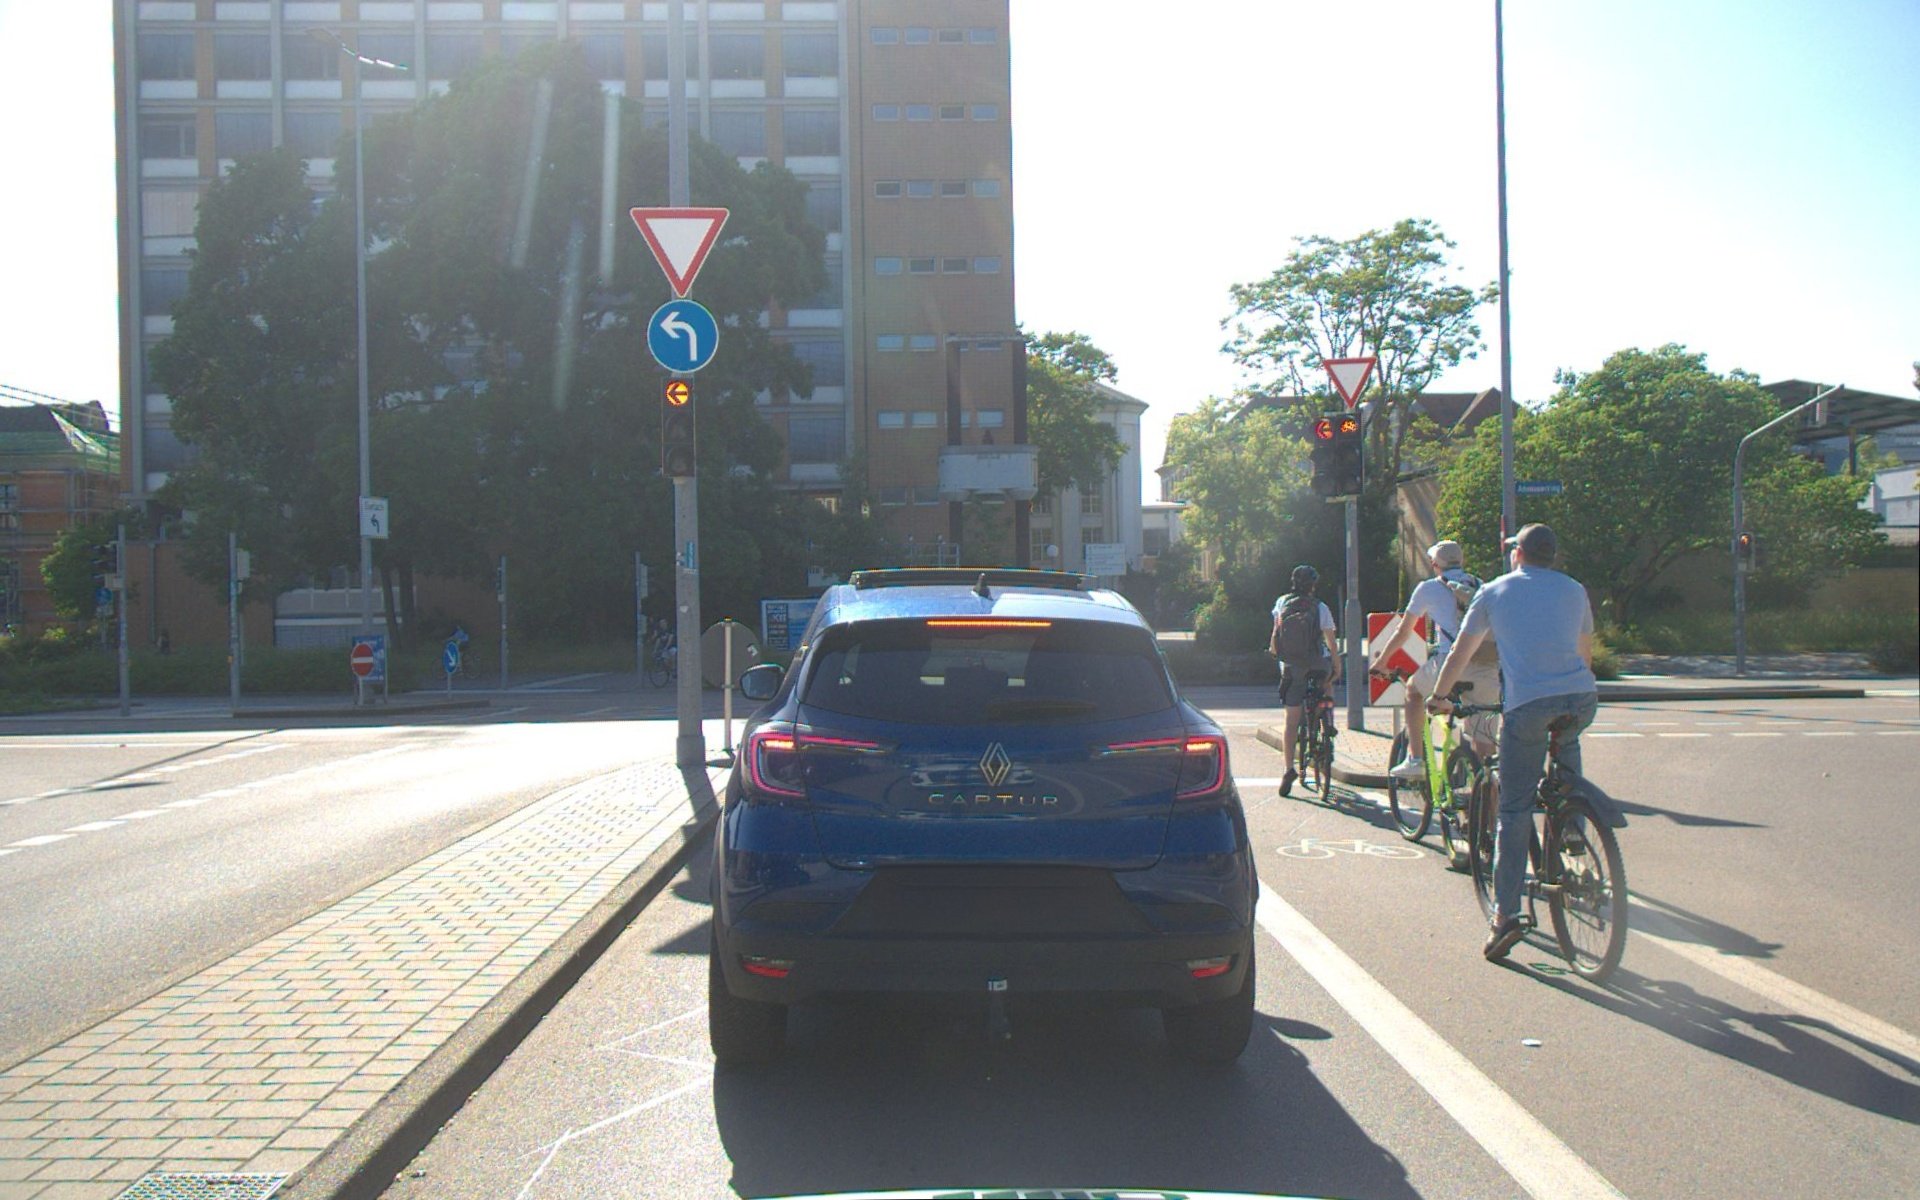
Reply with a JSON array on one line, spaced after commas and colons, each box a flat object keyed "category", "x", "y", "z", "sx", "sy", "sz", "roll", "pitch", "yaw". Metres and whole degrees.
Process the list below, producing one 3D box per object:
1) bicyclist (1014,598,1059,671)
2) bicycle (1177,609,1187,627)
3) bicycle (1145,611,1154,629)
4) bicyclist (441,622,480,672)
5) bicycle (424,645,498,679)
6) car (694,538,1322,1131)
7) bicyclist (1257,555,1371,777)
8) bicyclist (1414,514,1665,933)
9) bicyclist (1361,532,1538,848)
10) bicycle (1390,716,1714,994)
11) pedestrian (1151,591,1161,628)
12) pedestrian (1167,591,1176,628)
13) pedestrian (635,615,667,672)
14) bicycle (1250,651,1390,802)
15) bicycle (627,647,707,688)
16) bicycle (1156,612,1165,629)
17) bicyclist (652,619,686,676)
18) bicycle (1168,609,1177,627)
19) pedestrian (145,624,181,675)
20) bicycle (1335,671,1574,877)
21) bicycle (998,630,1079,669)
[{"category": "bicyclist", "x": 2.018, "y": 0.914, "z": 43.661, "sx": 1.078, "sy": 1.900, "sz": 0.653, "roll": -1, "pitch": 0, "yaw": 10}, {"category": "bicycle", "x": 12.688, "y": 1.035, "z": 94.584, "sx": 0.397, "sy": 0.990, "sz": 1.684, "roll": 1, "pitch": 0, "yaw": 3}, {"category": "bicycle", "x": 10.802, "y": 1.147, "z": 94.217, "sx": 0.397, "sy": 0.990, "sz": 1.684, "roll": 1, "pitch": 0, "yaw": 3}, {"category": "bicyclist", "x": -14.796, "y": 1.401, "z": 48.993, "sx": 0.916, "sy": 1.454, "sz": 0.599, "roll": -1, "pitch": 0, "yaw": 11}, {"category": "bicycle", "x": -14.787, "y": 1.834, "z": 48.992, "sx": 2.032, "sy": 0.981, "sz": 0.599, "roll": -1, "pitch": 0, "yaw": 11}, {"category": "car", "x": 0.063, "y": 0.667, "z": 6.677, "sx": 1.767, "sy": 1.660, "sz": 3.998, "roll": 1, "pitch": 0, "yaw": -3}, {"category": "bicyclist", "x": 2.762, "y": 0.500, "z": 12.970, "sx": 0.711, "sy": 1.657, "sz": 0.969, "roll": 1, "pitch": 0, "yaw": 3}, {"category": "bicyclist", "x": 2.510, "y": 0.507, "z": 7.266, "sx": 0.736, "sy": 1.698, "sz": 1.016, "roll": 1, "pitch": 0, "yaw": 0}, {"category": "bicyclist", "x": 2.884, "y": 0.508, "z": 9.837, "sx": 0.633, "sy": 1.769, "sz": 1.065, "roll": 1, "pitch": 0, "yaw": -6}, {"category": "bicycle", "x": 2.505, "y": 1.037, "z": 7.269, "sx": 0.725, "sy": 0.911, "sz": 1.978, "roll": 1, "pitch": 0, "yaw": 0}, {"category": "pedestrian", "x": 10.804, "y": 0.518, "z": 91.190, "sx": 0.465, "sy": 2.049, "sz": 0.523, "roll": -1, "pitch": 0, "yaw": 5}, {"category": "pedestrian", "x": 11.835, "y": 0.541, "z": 92.557, "sx": 0.465, "sy": 2.049, "sz": 0.468, "roll": -1, "pitch": 0, "yaw": 5}, {"category": "pedestrian", "x": -9.018, "y": 1.264, "z": 48.213, "sx": 0.721, "sy": 1.631, "sz": 0.599, "roll": -1, "pitch": 0, "yaw": 12}, {"category": "bicycle", "x": 2.763, "y": 0.935, "z": 12.919, "sx": 0.723, "sy": 1.012, "sz": 2.174, "roll": 1, "pitch": 0, "yaw": 3}, {"category": "bicycle", "x": -7.715, "y": 1.765, "z": 43.615, "sx": 1.982, "sy": 0.981, "sz": 0.593, "roll": -1, "pitch": 0, "yaw": -28}, {"category": "bicycle", "x": 11.412, "y": 1.157, "z": 94.183, "sx": 0.397, "sy": 0.990, "sz": 1.684, "roll": 1, "pitch": 0, "yaw": 3}, {"category": "bicyclist", "x": -7.667, "y": 1.241, "z": 43.641, "sx": 0.728, "sy": 1.466, "sz": 0.593, "roll": -1, "pitch": 0, "yaw": -27}, {"category": "bicycle", "x": 12.163, "y": 1.026, "z": 94.563, "sx": 0.397, "sy": 0.990, "sz": 1.684, "roll": 1, "pitch": 0, "yaw": 3}, {"category": "pedestrian", "x": -26.015, "y": 1.614, "z": 53.979, "sx": 0.843, "sy": 1.598, "sz": 0.559, "roll": -4, "pitch": 0, "yaw": 27}, {"category": "bicycle", "x": 2.873, "y": 0.977, "z": 9.840, "sx": 0.646, "sy": 1.020, "sz": 1.967, "roll": 1, "pitch": 0, "yaw": -6}, {"category": "bicycle", "x": 2.072, "y": 1.303, "z": 43.649, "sx": 2.037, "sy": 0.946, "sz": 0.697, "roll": -2, "pitch": 1, "yaw": 10}]
